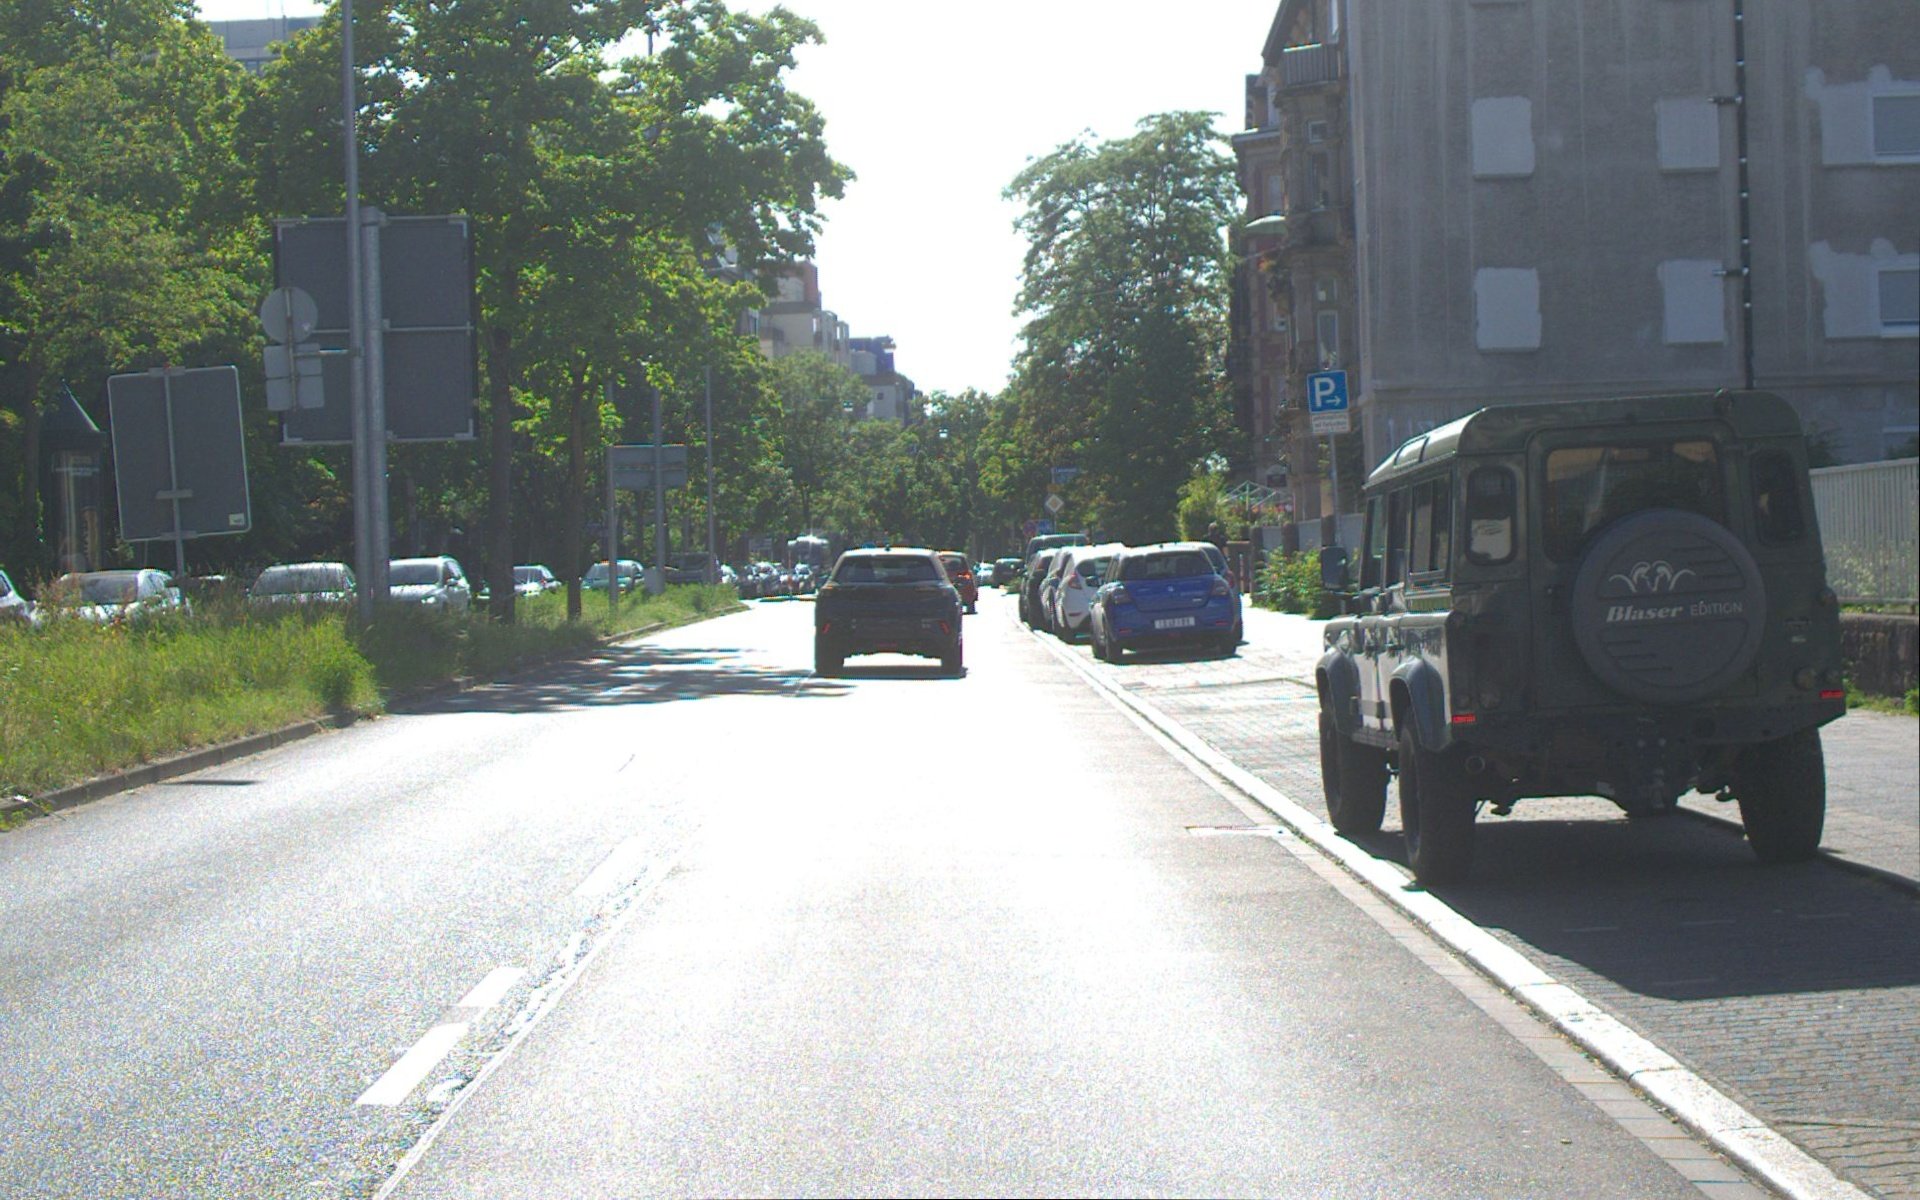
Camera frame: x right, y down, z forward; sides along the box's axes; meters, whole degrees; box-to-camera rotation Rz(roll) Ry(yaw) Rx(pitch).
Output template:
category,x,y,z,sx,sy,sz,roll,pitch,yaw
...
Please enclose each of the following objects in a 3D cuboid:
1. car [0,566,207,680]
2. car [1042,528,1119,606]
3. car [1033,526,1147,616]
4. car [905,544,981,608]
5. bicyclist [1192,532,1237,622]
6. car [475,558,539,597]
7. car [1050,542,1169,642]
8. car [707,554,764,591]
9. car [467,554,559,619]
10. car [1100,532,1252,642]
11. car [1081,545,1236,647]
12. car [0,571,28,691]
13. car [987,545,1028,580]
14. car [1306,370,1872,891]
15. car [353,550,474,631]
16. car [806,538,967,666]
category,x,y,z,sx,sy,sz,roll,pitch,yaw
car,-12.511,0.298,50.371,1.839,1.514,4.666,-2,1,1
car,3.038,-0.847,86.174,1.819,1.837,4.364,-2,1,2
car,2.304,-0.535,61.931,1.668,1.514,3.662,-2,1,-3
car,-0.416,-0.568,83.679,1.792,1.515,3.849,0,0,0
bicyclist,4.492,-0.414,60.741,0.741,1.575,1.100,0,2,2
car,-20.109,-1.003,152.448,1.974,1.656,4.001,-2,1,-20
car,2.416,-0.160,56.176,1.608,1.441,3.659,-5,1,-1
car,-9.817,-1.206,150.601,1.759,1.514,3.858,-2,1,8
car,-11.177,-0.323,86.185,1.795,1.514,4.087,-3,0,-1
car,3.197,-0.224,51.486,1.668,1.455,3.987,-5,1,-4
car,2.653,-0.083,46.704,1.668,1.178,3.901,-5,1,-2
car,-12.972,0.379,42.430,1.795,1.514,4.258,0,-1,0
car,2.355,-1.858,169.056,1.920,1.634,4.000,-2,1,1
car,2.749,0.108,16.108,1.660,2.007,4.776,-3,0,0
car,-11.688,-0.222,73.802,1.900,1.620,4.537,-2,1,-1
car,-0.964,0.006,43.159,1.894,1.514,4.000,1,1,-3
